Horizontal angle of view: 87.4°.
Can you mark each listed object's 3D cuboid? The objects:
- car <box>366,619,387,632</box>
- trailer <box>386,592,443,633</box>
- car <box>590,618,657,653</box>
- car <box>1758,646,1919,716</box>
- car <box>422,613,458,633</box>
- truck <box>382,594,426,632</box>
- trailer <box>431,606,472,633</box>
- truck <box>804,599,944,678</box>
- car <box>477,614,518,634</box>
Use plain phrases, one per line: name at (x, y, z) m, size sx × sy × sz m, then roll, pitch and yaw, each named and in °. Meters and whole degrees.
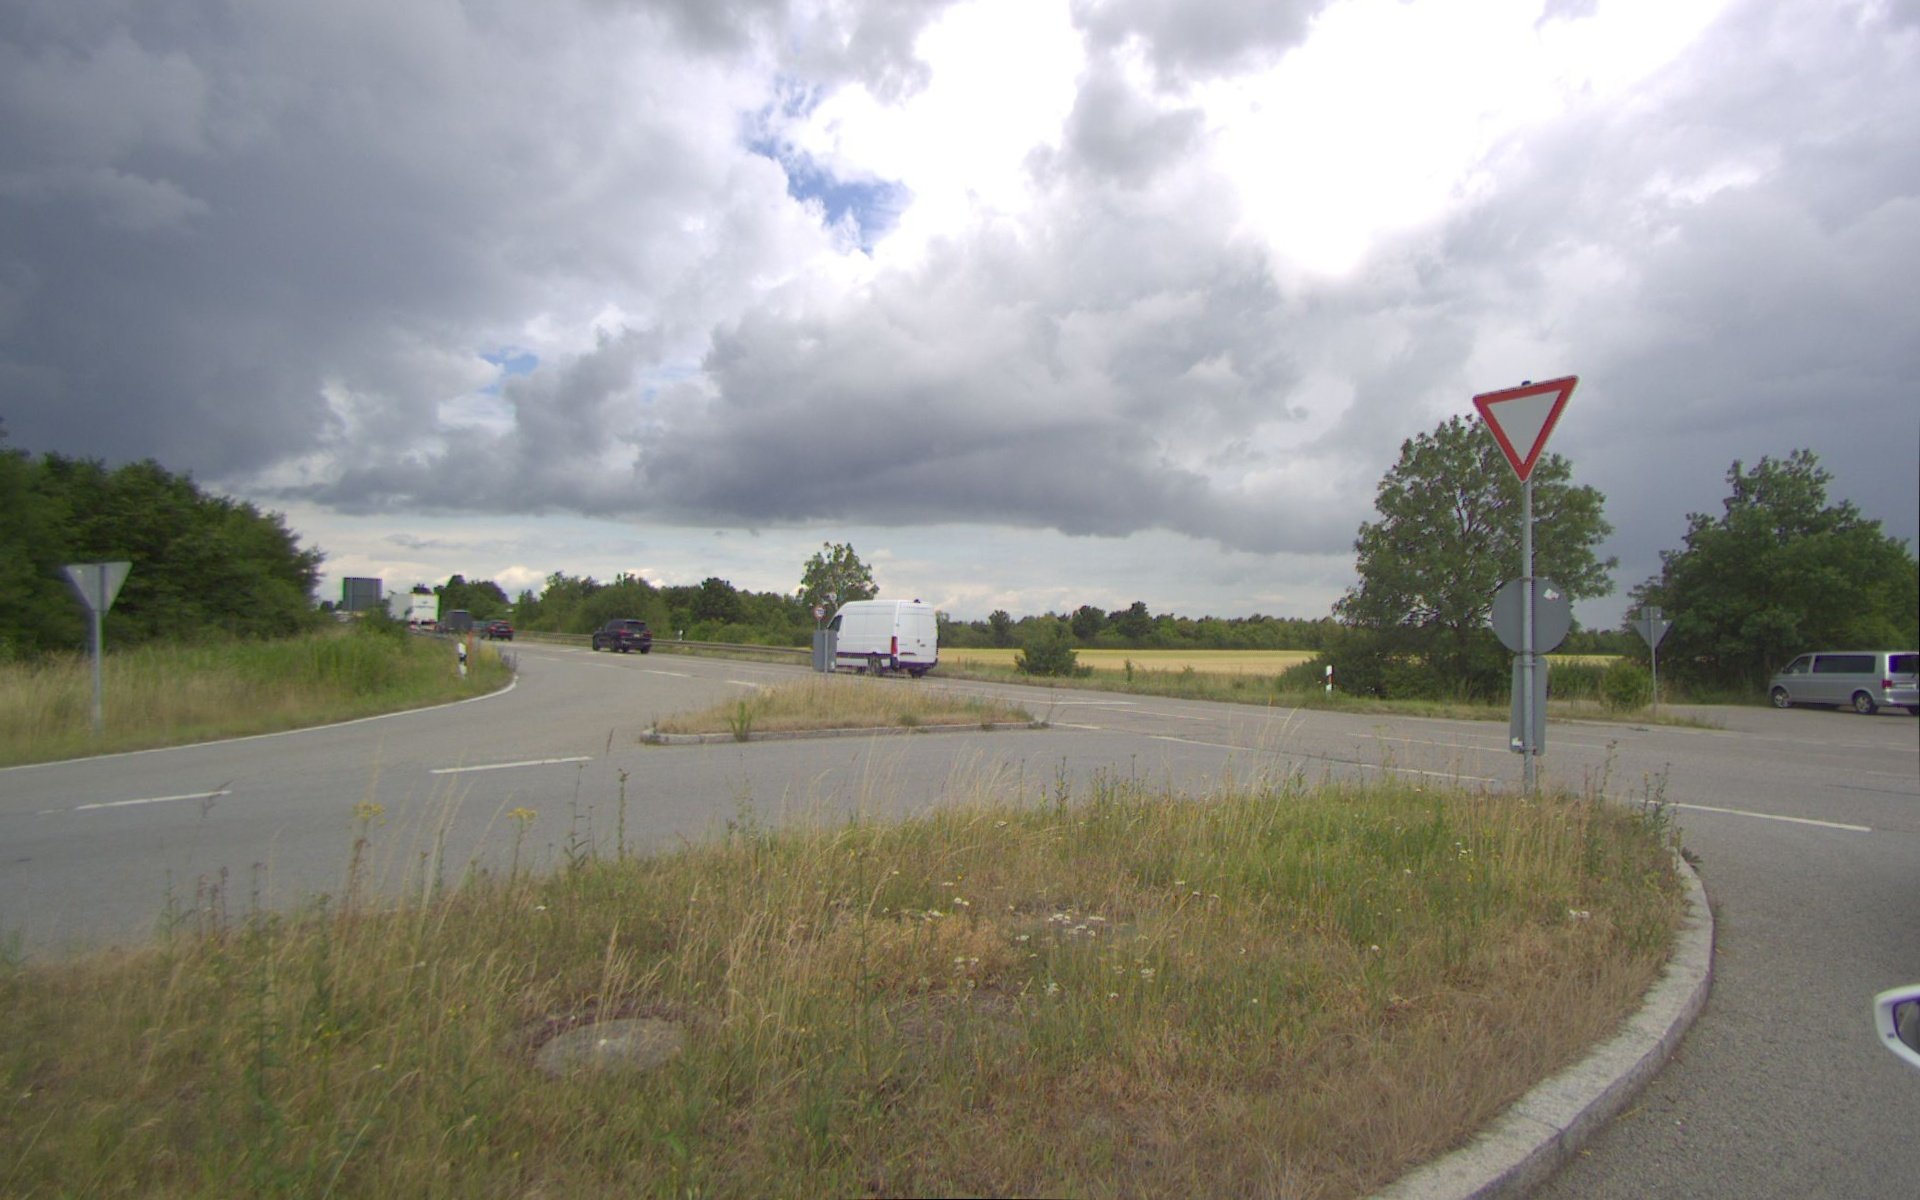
car at (-78.156, 3.470, 134.494) m, size 1.981 × 1.622 × 4.182 m, roll 1°, pitch -3°, yaw -36°
trailer at (-59.761, 1.413, 109.832) m, size 3.102 × 4.066 × 13.736 m, roll 4°, pitch -3°, yaw -38°
car at (-18.661, 1.945, 55.586) m, size 1.984 × 1.798 × 4.590 m, roll 3°, pitch -2°, yaw -40°
car at (29.279, 2.569, 32.974) m, size 2.295 × 2.040 × 4.916 m, roll 0°, pitch -2°, yaw 1°
car at (-49.135, 2.179, 94.888) m, size 1.984 × 1.704 × 4.426 m, roll 4°, pitch -4°, yaw -40°
truck at (-63.699, 1.492, 114.962) m, size 3.102 × 4.066 × 7.228 m, roll 4°, pitch -3°, yaw -38°
trailer at (-46.359, 1.821, 91.533) m, size 2.398 × 2.322 × 4.346 m, roll 4°, pitch -4°, yaw -39°
truck at (-3.222, 1.353, 36.318) m, size 1.983 × 2.609 × 5.949 m, roll 4°, pitch -3°, yaw -39°
car at (-37.017, 1.925, 80.353) m, size 1.983 × 1.506 × 4.254 m, roll 3°, pitch -3°, yaw -38°
